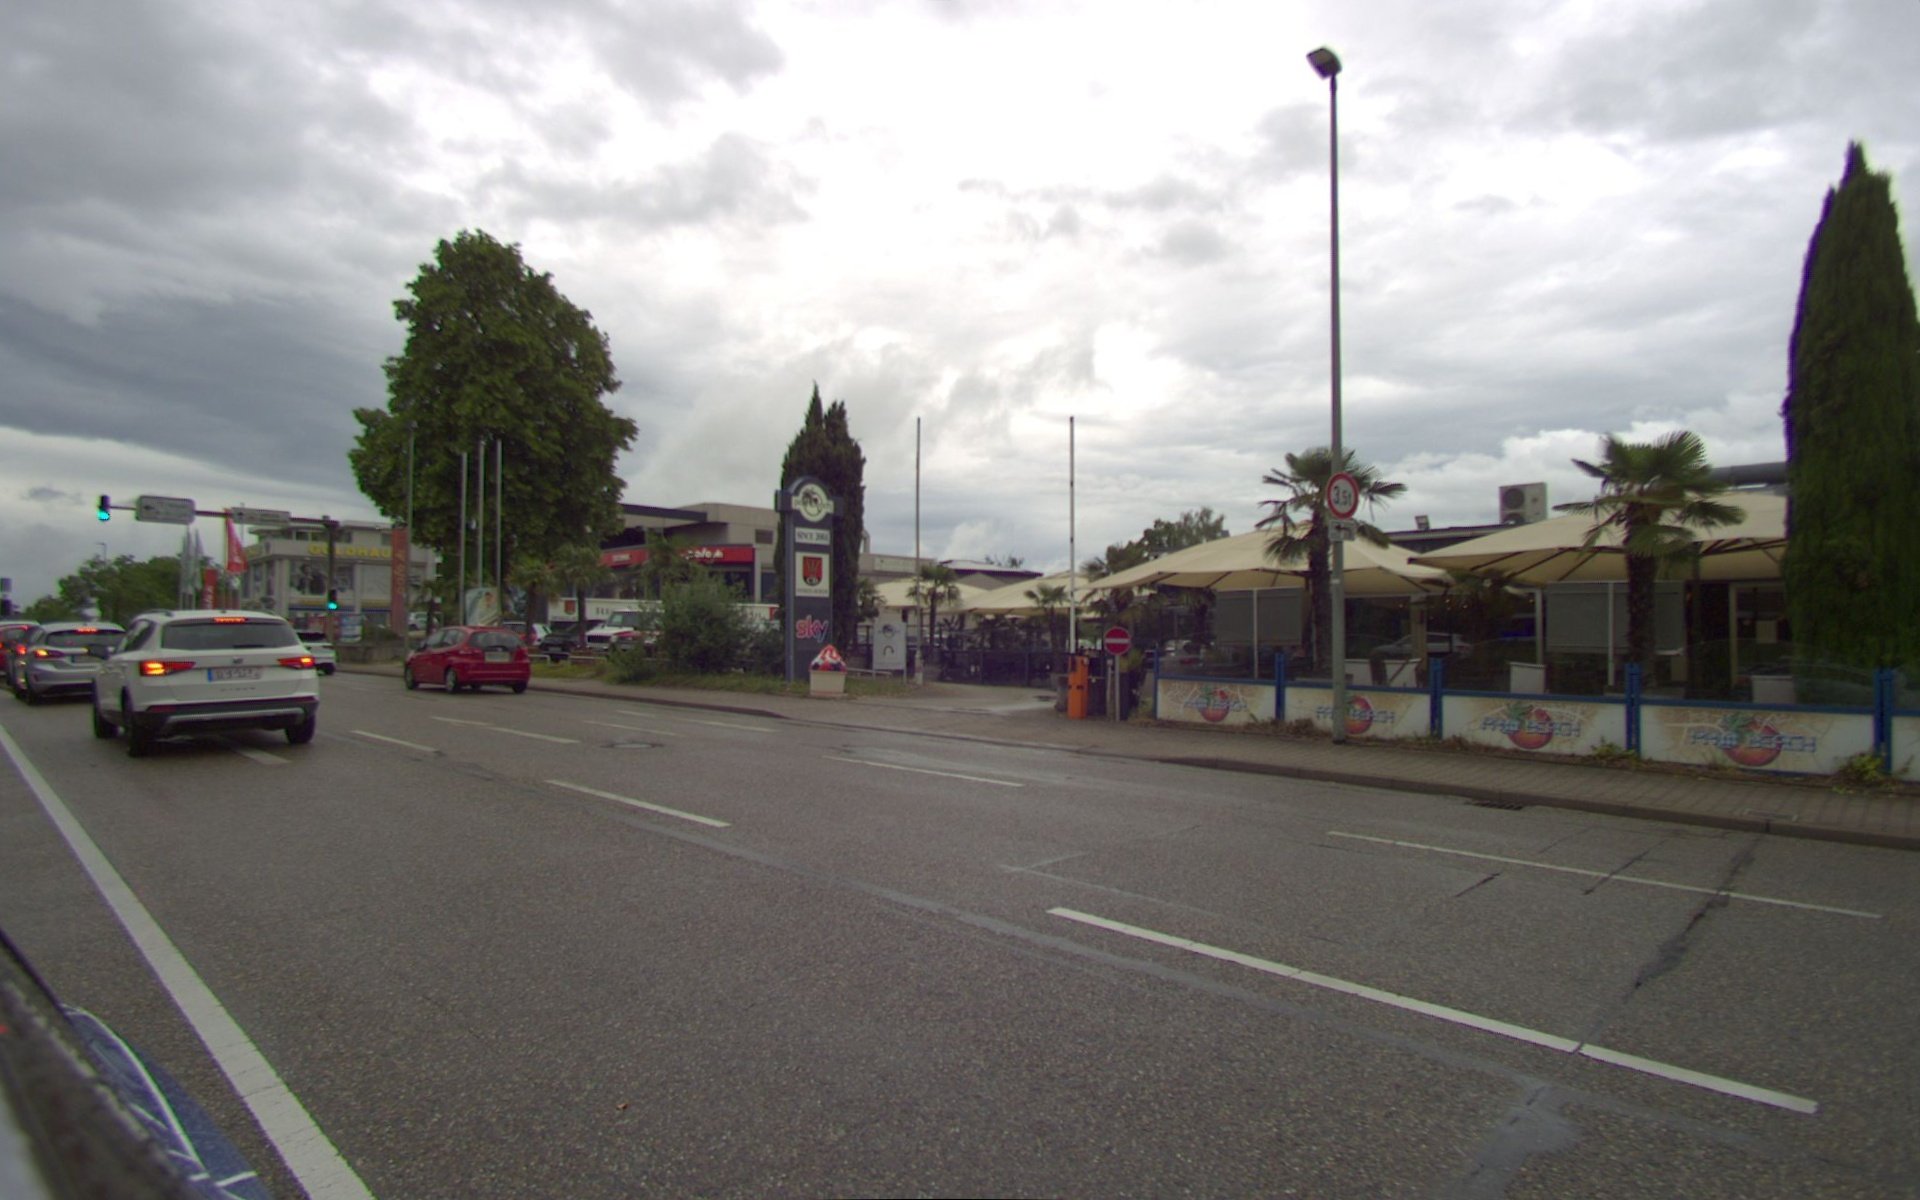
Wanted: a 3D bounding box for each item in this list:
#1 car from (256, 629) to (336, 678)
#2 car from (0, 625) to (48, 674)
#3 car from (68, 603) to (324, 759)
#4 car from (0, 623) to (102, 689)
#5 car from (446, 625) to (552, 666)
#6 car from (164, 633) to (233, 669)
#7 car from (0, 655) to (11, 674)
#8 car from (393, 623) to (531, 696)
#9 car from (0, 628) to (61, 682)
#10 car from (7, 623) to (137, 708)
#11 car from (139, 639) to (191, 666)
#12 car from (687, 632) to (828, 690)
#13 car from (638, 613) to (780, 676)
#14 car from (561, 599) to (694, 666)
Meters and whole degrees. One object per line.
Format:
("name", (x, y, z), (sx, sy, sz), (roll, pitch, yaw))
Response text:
("car", (-21.649, 1.697, 32.921), (1.617, 1.489, 4.050), (2, -3, -41))
("car", (-33.743, 1.751, 35.858), (4.298, 1.662, 1.819), (-3, -4, 44))
("car", (-9.468, 0.872, 12.418), (4.239, 1.593, 1.768), (-1, -2, 43))
("car", (-21.889, 1.322, 24.310), (3.950, 1.452, 1.584), (-3, -2, 44))
("car", (-18.037, 1.781, 39.735), (3.556, 1.515, 1.670), (2, -2, -16))
("car", (-32.410, 2.177, 43.020), (4.405, 1.410, 1.584), (-3, -5, 43))
("car", (-86.009, 5.690, 90.169), (4.298, 1.662, 1.819), (-3, -5, 44))
("car", (-11.680, 1.357, 23.641), (3.973, 1.545, 1.618), (-1, -4, 44))
("car", (-27.714, 1.573, 29.756), (4.146, 1.445, 1.613), (-1, -2, 44))
("car", (-17.073, 1.171, 19.398), (3.950, 1.452, 1.584), (-1, -1, 44))
("car", (-41.206, 2.728, 52.423), (3.947, 1.342, 1.604), (-3, -5, 44))
("car", (-5.772, 1.795, 29.455), (1.985, 1.475, 4.338), (2, -3, 20))
("car", (-7.717, 1.446, 31.714), (1.983, 1.715, 4.984), (2, -3, 17))
("car", (-10.778, 1.138, 33.166), (1.983, 2.029, 4.375), (0, -4, 16))
